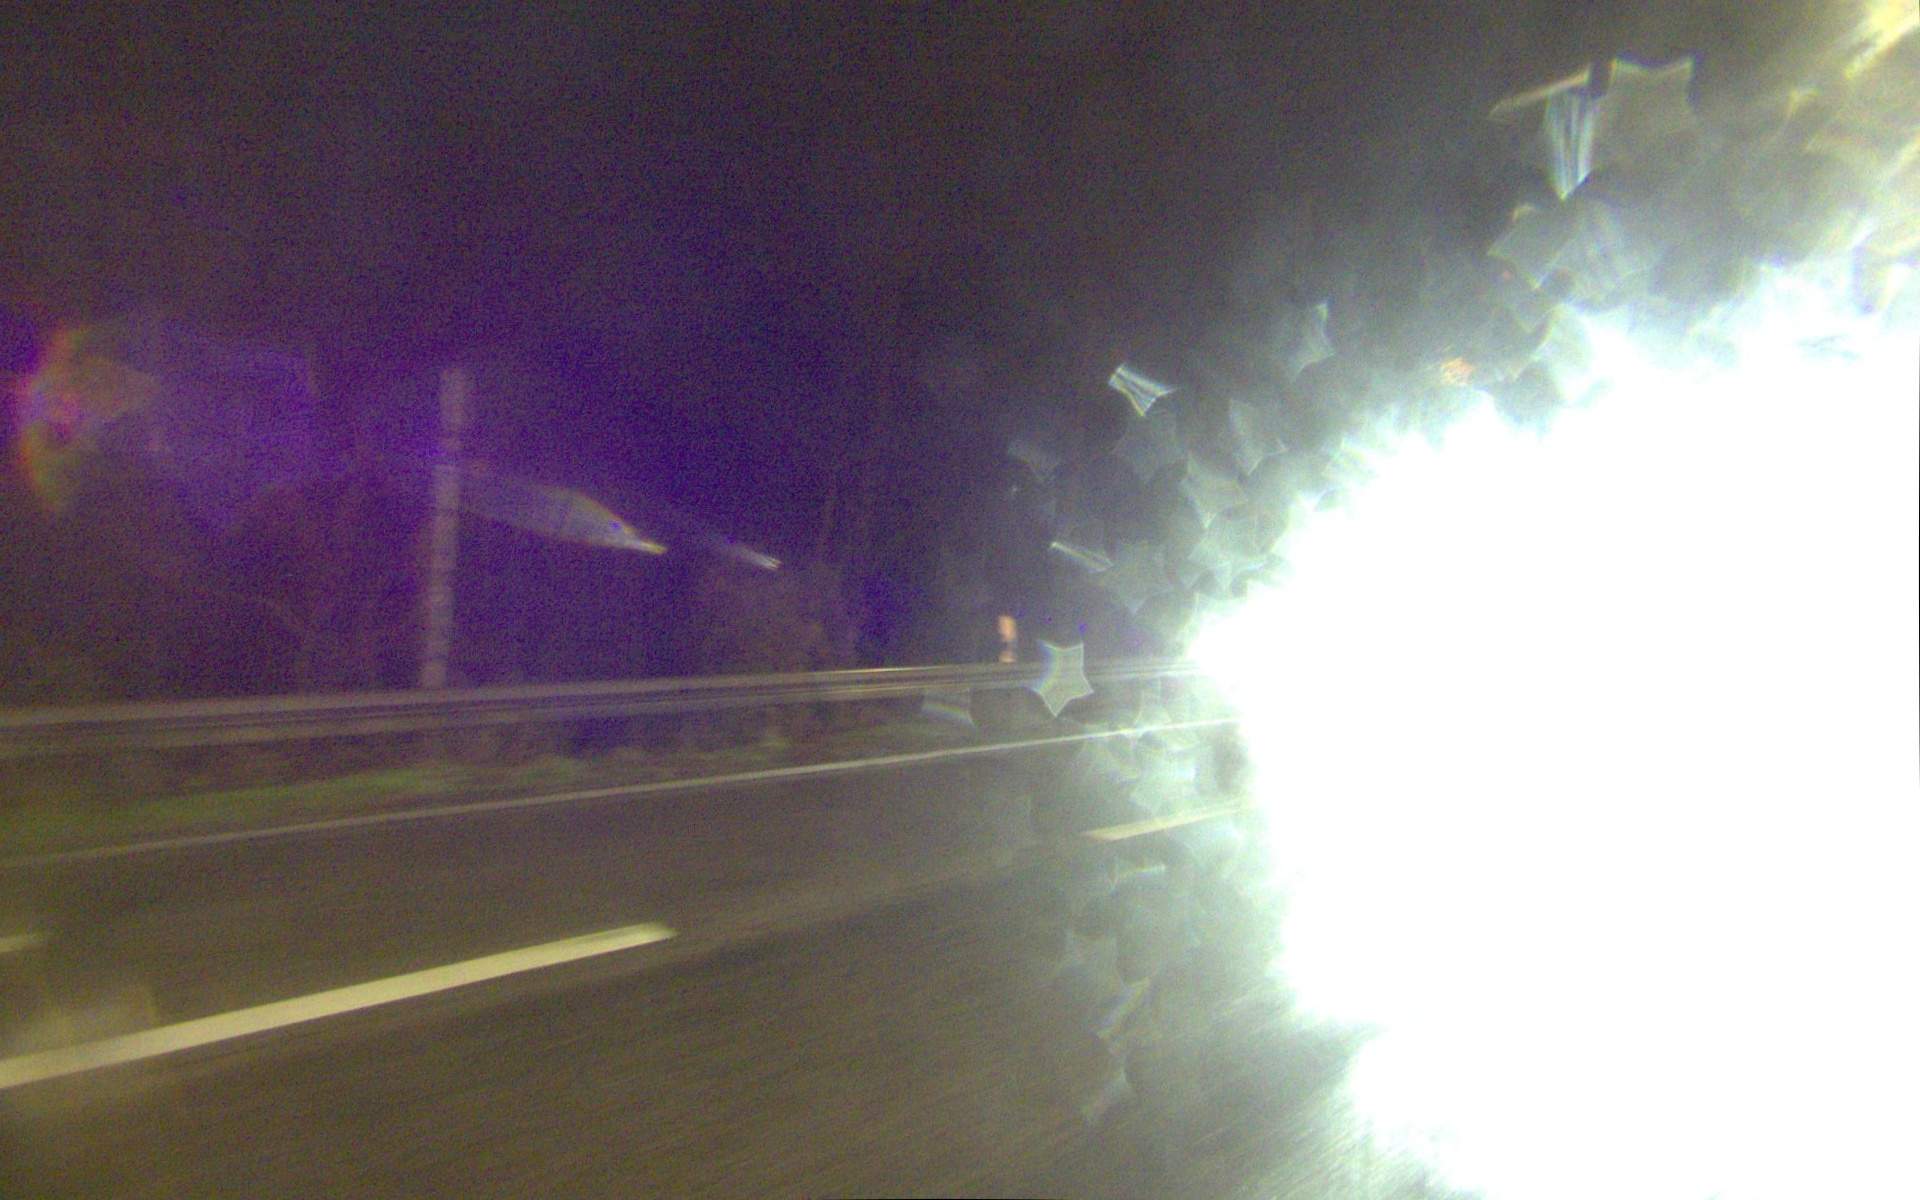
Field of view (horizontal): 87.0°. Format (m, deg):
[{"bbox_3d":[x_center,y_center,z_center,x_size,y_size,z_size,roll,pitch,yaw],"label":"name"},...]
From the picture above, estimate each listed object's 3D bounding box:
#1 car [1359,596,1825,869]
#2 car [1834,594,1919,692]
[{"bbox_3d":[4.979,0.713,7.655,4.643,1.467,1.734,0,-1,-41],"label":"car"},{"bbox_3d":[16.453,0.657,17.101,4.486,1.503,1.825,0,0,-40],"label":"car"}]
